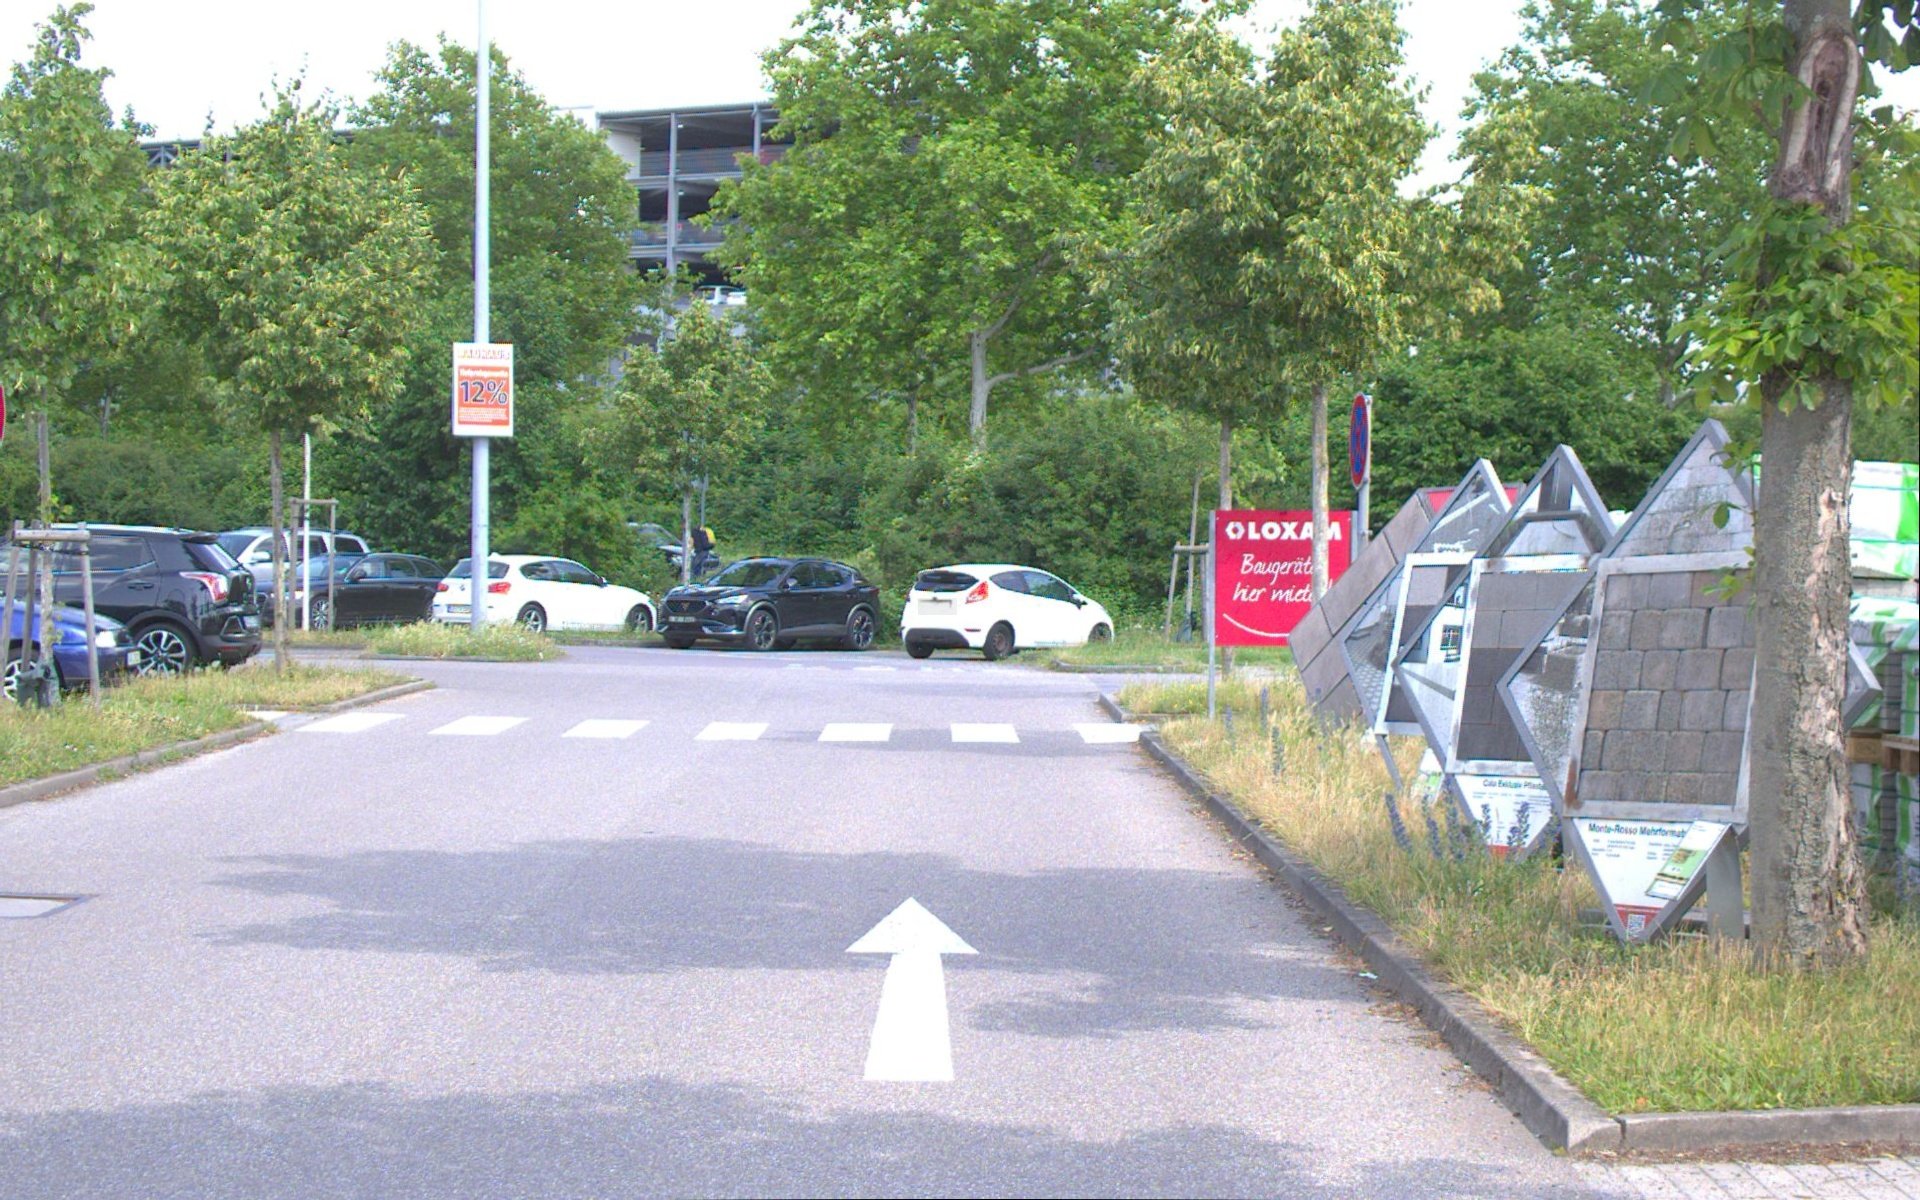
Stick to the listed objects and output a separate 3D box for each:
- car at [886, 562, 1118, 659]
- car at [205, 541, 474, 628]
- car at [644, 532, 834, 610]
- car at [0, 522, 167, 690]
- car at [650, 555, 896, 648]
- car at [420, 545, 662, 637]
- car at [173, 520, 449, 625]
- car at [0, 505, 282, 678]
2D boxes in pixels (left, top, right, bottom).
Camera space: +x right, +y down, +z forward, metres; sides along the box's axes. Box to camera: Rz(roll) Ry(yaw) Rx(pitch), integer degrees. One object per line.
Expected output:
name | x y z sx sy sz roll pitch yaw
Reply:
car | 0.672 0.153 52.533 1.668 1.407 3.549 2 1 39
car | -10.942 -0.264 60.926 1.837 1.446 4.715 2 1 35
car | -5.188 -0.691 80.660 3.994 1.709 1.996 2 1 32
car | -8.804 0.002 29.189 3.750 1.363 1.621 1 1 0
car | -2.975 0.012 55.489 1.731 1.405 4.234 2 1 34
car | -7.027 -0.151 57.984 1.688 1.504 4.073 1 0 37
car | -11.959 -0.493 63.713 1.988 1.836 5.138 2 1 33
car | -8.910 -0.112 34.132 3.950 1.619 1.736 1 1 2
